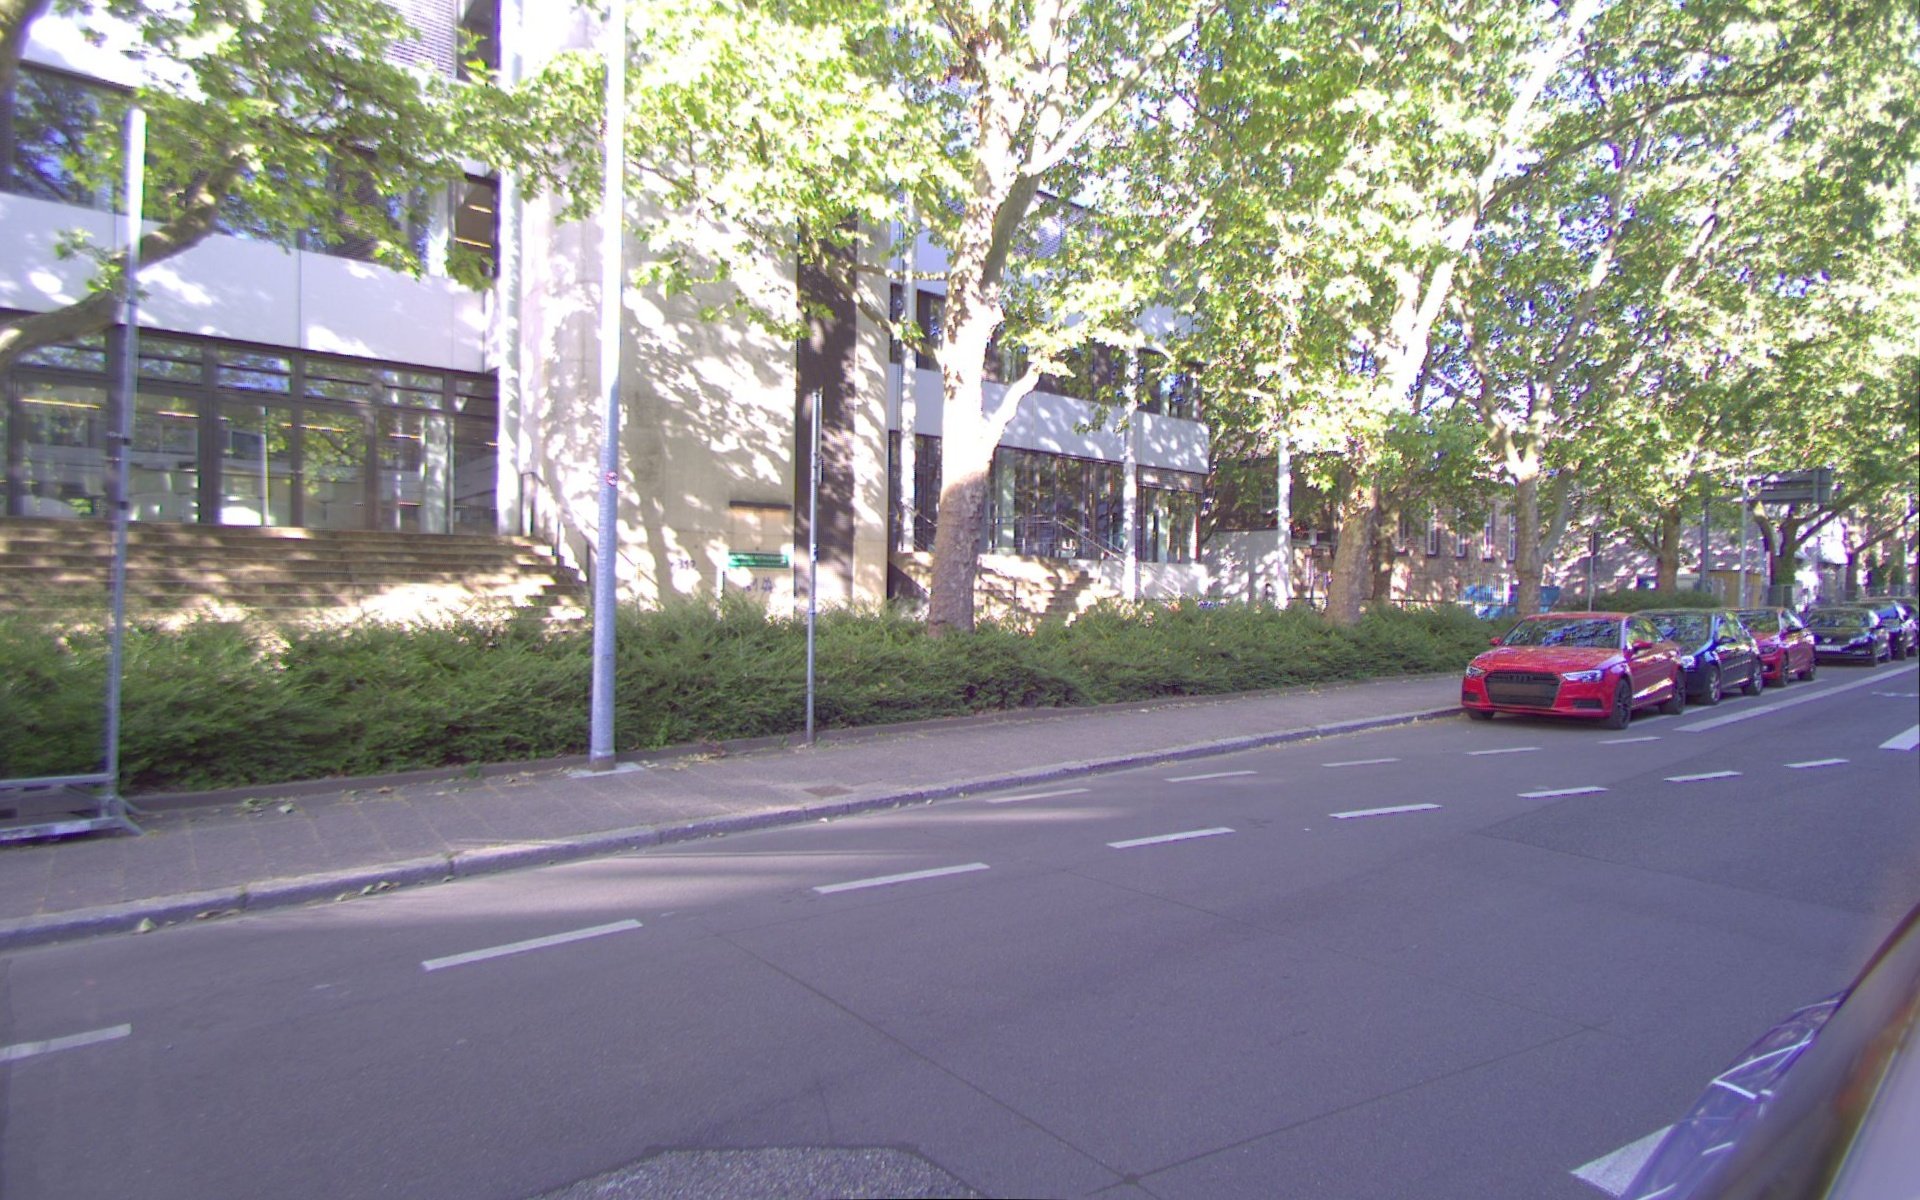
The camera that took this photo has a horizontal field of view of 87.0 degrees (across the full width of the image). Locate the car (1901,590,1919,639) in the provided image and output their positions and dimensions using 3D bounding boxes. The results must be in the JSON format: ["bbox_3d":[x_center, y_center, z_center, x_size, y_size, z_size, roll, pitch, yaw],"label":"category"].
[{"bbox_3d":[36.199,0.517,37.280,4.370,1.750,1.753,0,-1,-41],"label":"car"}]

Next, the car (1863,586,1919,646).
[{"bbox_3d":[30.976,0.487,32.983,4.370,1.843,1.753,0,-1,-41],"label":"car"}]

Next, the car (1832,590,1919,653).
[{"bbox_3d":[26.719,0.586,29.192,4.101,1.674,1.753,0,-1,-41],"label":"car"}]

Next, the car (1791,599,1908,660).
[{"bbox_3d":[22.952,0.716,26.080,3.841,1.451,1.753,0,-1,-41],"label":"car"}]

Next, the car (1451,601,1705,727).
[{"bbox_3d":[8.289,0.741,13.448,3.930,1.427,1.753,0,-1,-41],"label":"car"}]

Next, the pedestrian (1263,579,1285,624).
[{"bbox_3d":[11.769,0.058,37.923,0.649,1.691,0.525,0,0,-39],"label":"pedestrian"}]

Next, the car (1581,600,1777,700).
[{"bbox_3d":[11.856,0.739,16.604,3.841,1.451,1.753,0,-1,-41],"label":"car"}]

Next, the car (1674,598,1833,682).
[{"bbox_3d":[15.707,0.721,19.981,3.841,1.486,1.753,0,-1,-41],"label":"car"}]
